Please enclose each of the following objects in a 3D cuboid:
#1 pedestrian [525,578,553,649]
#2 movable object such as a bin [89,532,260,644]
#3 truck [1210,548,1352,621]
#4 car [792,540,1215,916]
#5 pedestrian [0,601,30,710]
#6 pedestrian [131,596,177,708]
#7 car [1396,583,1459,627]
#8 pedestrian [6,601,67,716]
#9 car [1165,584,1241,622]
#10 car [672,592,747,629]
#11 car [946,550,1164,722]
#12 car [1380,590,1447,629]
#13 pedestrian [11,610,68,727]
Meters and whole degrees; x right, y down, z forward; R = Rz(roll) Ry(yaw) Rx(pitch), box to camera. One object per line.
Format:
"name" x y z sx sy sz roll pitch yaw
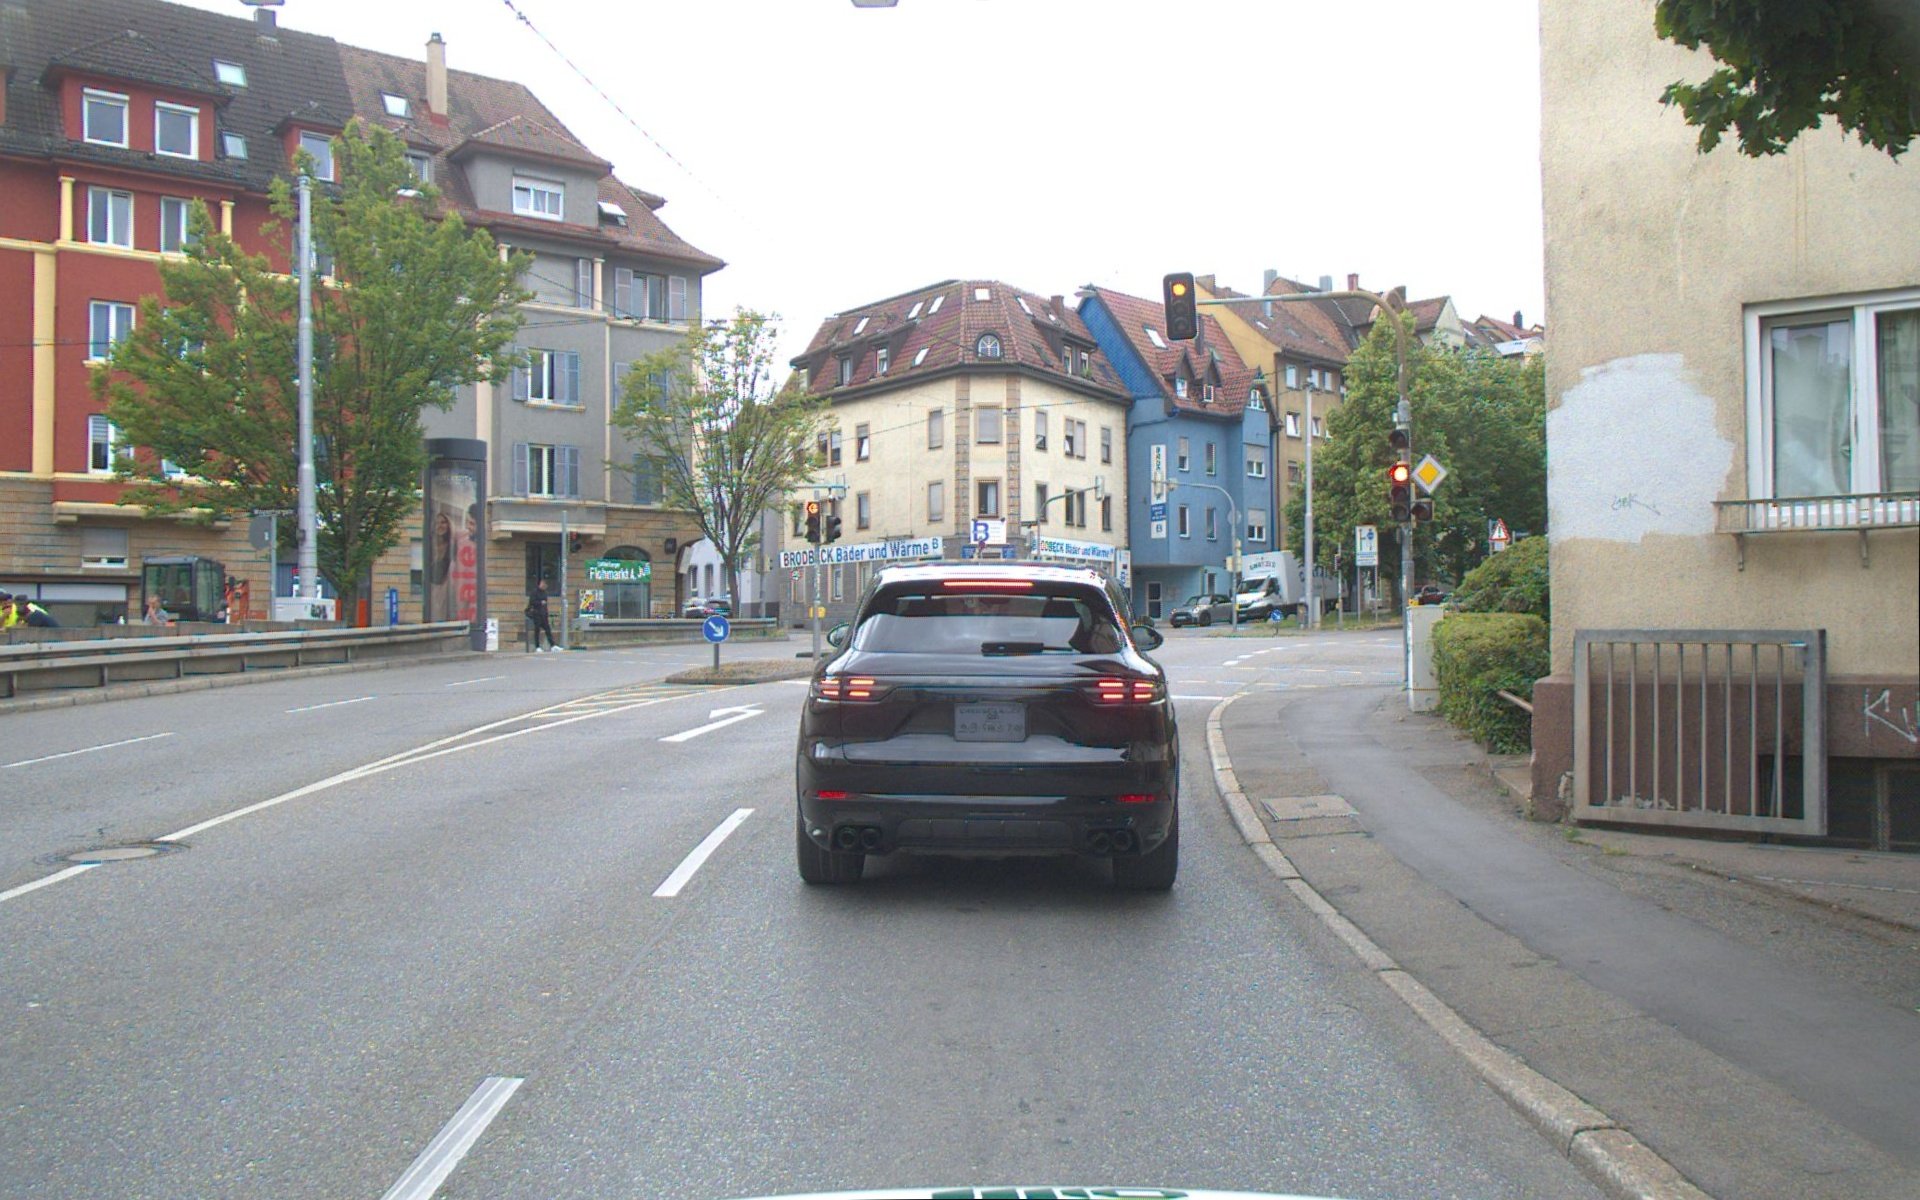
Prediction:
"pedestrian" -10.464 0.335 41.112 0.503 1.760 0.451 2 0 2
"movable object such as a bin" -13.898 -0.204 29.516 1.869 1.802 3.987 2 0 -13
"truck" 16.103 -0.720 82.390 2.832 3.398 8.740 2 0 42
"car" 0.113 0.553 9.567 1.939 1.713 3.998 0 1 -3
"pedestrian" -15.571 0.903 27.031 0.534 1.760 0.473 2 -1 44
"pedestrian" -12.963 0.832 26.591 0.537 1.760 0.586 2 0 -34
"car" 18.653 0.189 66.161 1.951 1.713 4.003 0 0 9
"pedestrian" -14.747 0.919 26.411 0.561 1.792 0.616 2 -1 35
"car" 11.137 0.133 75.553 1.958 1.713 3.988 0 0 33
"car" -11.956 0.479 78.732 1.977 1.713 3.950 1 -1 -36
"car" 1.180 0.354 18.544 1.951 1.713 4.003 0 0 10
"car" 25.404 0.550 92.638 1.966 2.049 3.974 2 0 43
"pedestrian" -14.018 1.037 25.203 0.552 1.729 0.542 2 0 -11
